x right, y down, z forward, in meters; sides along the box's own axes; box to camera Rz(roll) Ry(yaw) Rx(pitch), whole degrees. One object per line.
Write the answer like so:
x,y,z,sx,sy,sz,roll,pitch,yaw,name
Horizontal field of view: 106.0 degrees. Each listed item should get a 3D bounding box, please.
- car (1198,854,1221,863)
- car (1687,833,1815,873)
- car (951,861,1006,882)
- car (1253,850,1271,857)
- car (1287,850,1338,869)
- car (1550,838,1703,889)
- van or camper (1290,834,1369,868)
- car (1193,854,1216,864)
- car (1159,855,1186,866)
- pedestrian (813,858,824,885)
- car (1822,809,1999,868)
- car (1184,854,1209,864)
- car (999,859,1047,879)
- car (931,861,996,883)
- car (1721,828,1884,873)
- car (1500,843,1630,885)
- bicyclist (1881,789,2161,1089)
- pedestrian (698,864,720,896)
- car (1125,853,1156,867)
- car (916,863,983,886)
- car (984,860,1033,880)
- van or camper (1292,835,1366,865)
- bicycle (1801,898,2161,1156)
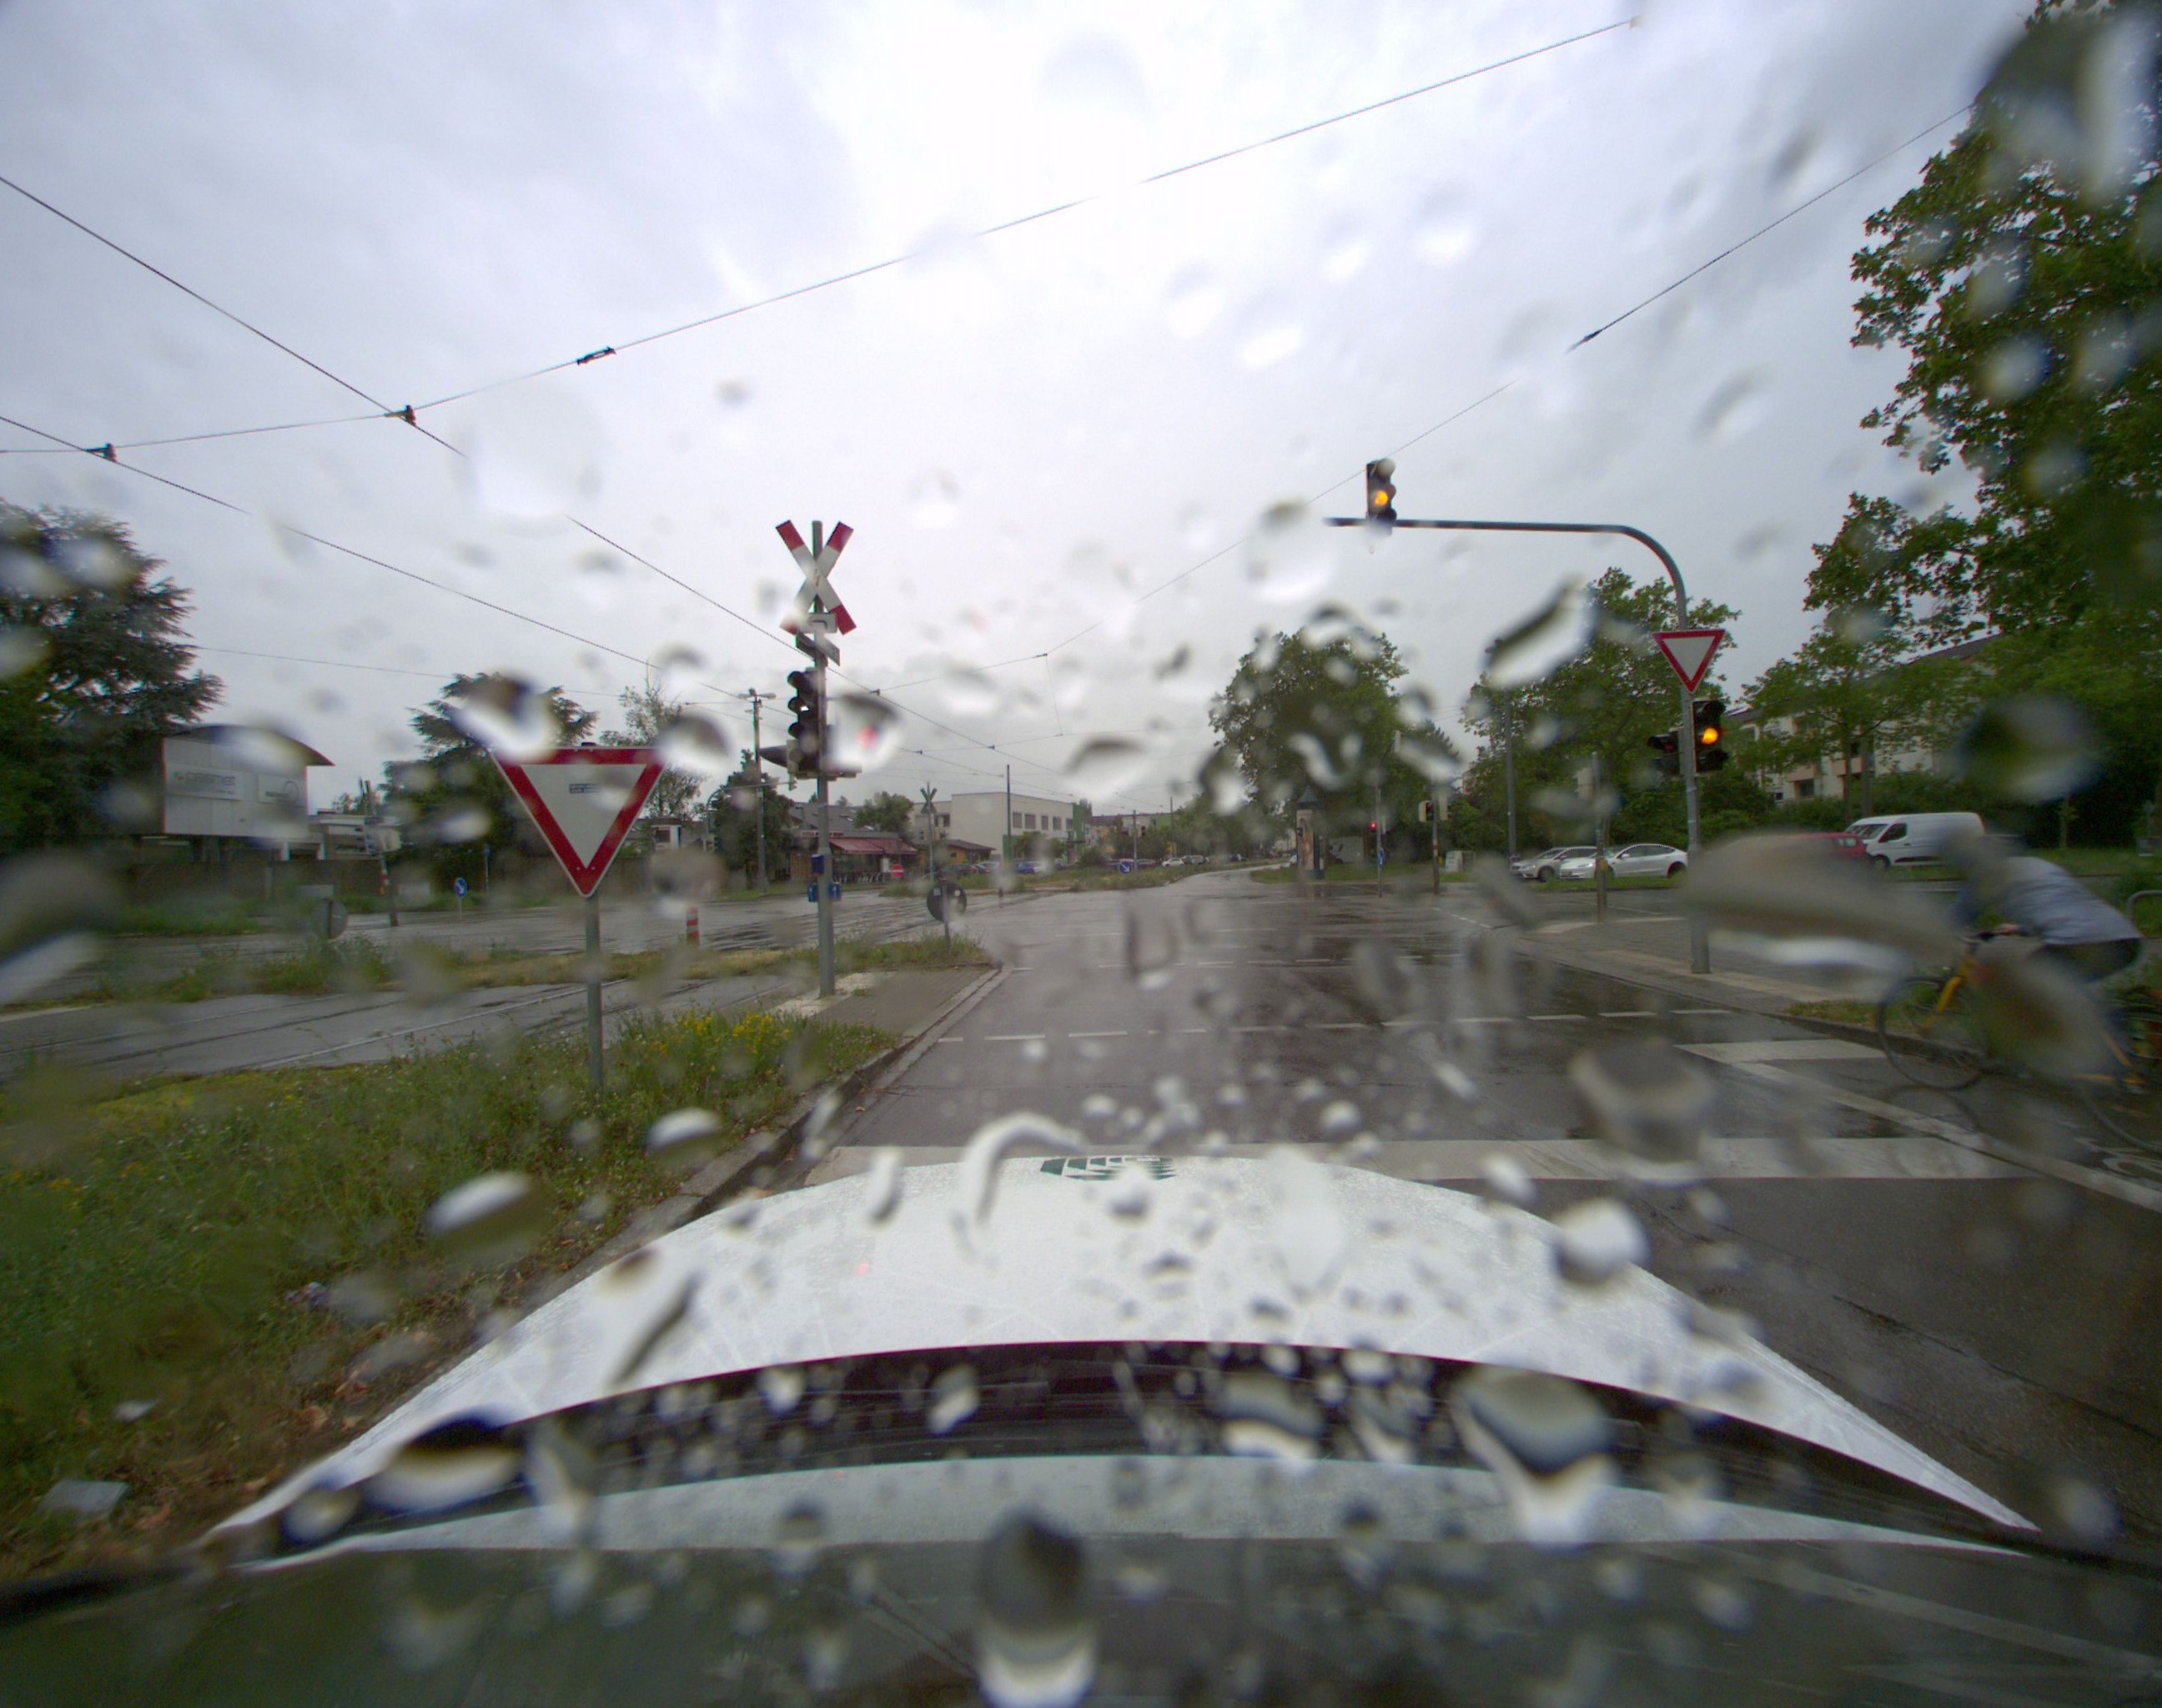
24.980,0.890,158.552,3.977,1.832,1.998,0,-1,-3,car
28.258,-0.042,34.416,4.048,1.607,1.788,0,-1,-5,car
-8.171,1.385,65.141,3.966,1.582,1.862,-2,-1,6,car
44.056,-0.141,197.908,3.977,1.832,1.998,0,-1,-3,car
21.987,0.502,77.242,4.405,1.717,2.011,-1,-1,23,car
20.479,0.363,30.680,4.585,1.828,1.931,0,-1,-5,car
24.469,-0.234,80.164,7.261,3.178,3.278,-1,-1,20,van or camper
23.242,0.862,153.521,3.986,1.832,1.994,0,-1,-10,car
14.222,0.949,126.638,3.772,1.702,1.832,0,-1,-8,car
-19.473,1.298,60.378,0.724,2.014,0.790,0,-1,-15,pedestrian
35.111,-0.625,34.579,5.589,2.392,1.999,0,-1,-2,car
20.421,0.848,144.619,3.986,1.759,2.004,0,-1,-10,car
-5.219,1.352,73.205,4.112,1.641,1.922,-1,-1,-12,car
-8.850,1.336,61.614,4.478,1.418,1.860,-3,-1,3,car
27.069,-0.117,30.663,4.589,1.607,1.790,0,-1,-1,car
20.178,0.413,34.056,4.385,1.691,1.931,0,-1,-5,car
5.248,0.429,4.551,0.689,1.506,0.843,0,-1,-5,bicyclist
-21.643,1.504,47.361,0.719,1.797,0.890,0,0,17,pedestrian
8.028,0.840,110.280,3.980,1.887,1.997,0,-1,-5,car
-9.554,1.508,59.372,4.459,1.418,1.860,-3,-1,3,car
-6.252,1.363,70.009,3.986,1.582,1.924,-2,-1,-9,car
27.221,-0.399,89.227,7.359,3.178,3.281,-1,-1,24,van or camper
5.255,0.843,4.552,0.689,1.117,1.882,0,-1,-4,bicycle
